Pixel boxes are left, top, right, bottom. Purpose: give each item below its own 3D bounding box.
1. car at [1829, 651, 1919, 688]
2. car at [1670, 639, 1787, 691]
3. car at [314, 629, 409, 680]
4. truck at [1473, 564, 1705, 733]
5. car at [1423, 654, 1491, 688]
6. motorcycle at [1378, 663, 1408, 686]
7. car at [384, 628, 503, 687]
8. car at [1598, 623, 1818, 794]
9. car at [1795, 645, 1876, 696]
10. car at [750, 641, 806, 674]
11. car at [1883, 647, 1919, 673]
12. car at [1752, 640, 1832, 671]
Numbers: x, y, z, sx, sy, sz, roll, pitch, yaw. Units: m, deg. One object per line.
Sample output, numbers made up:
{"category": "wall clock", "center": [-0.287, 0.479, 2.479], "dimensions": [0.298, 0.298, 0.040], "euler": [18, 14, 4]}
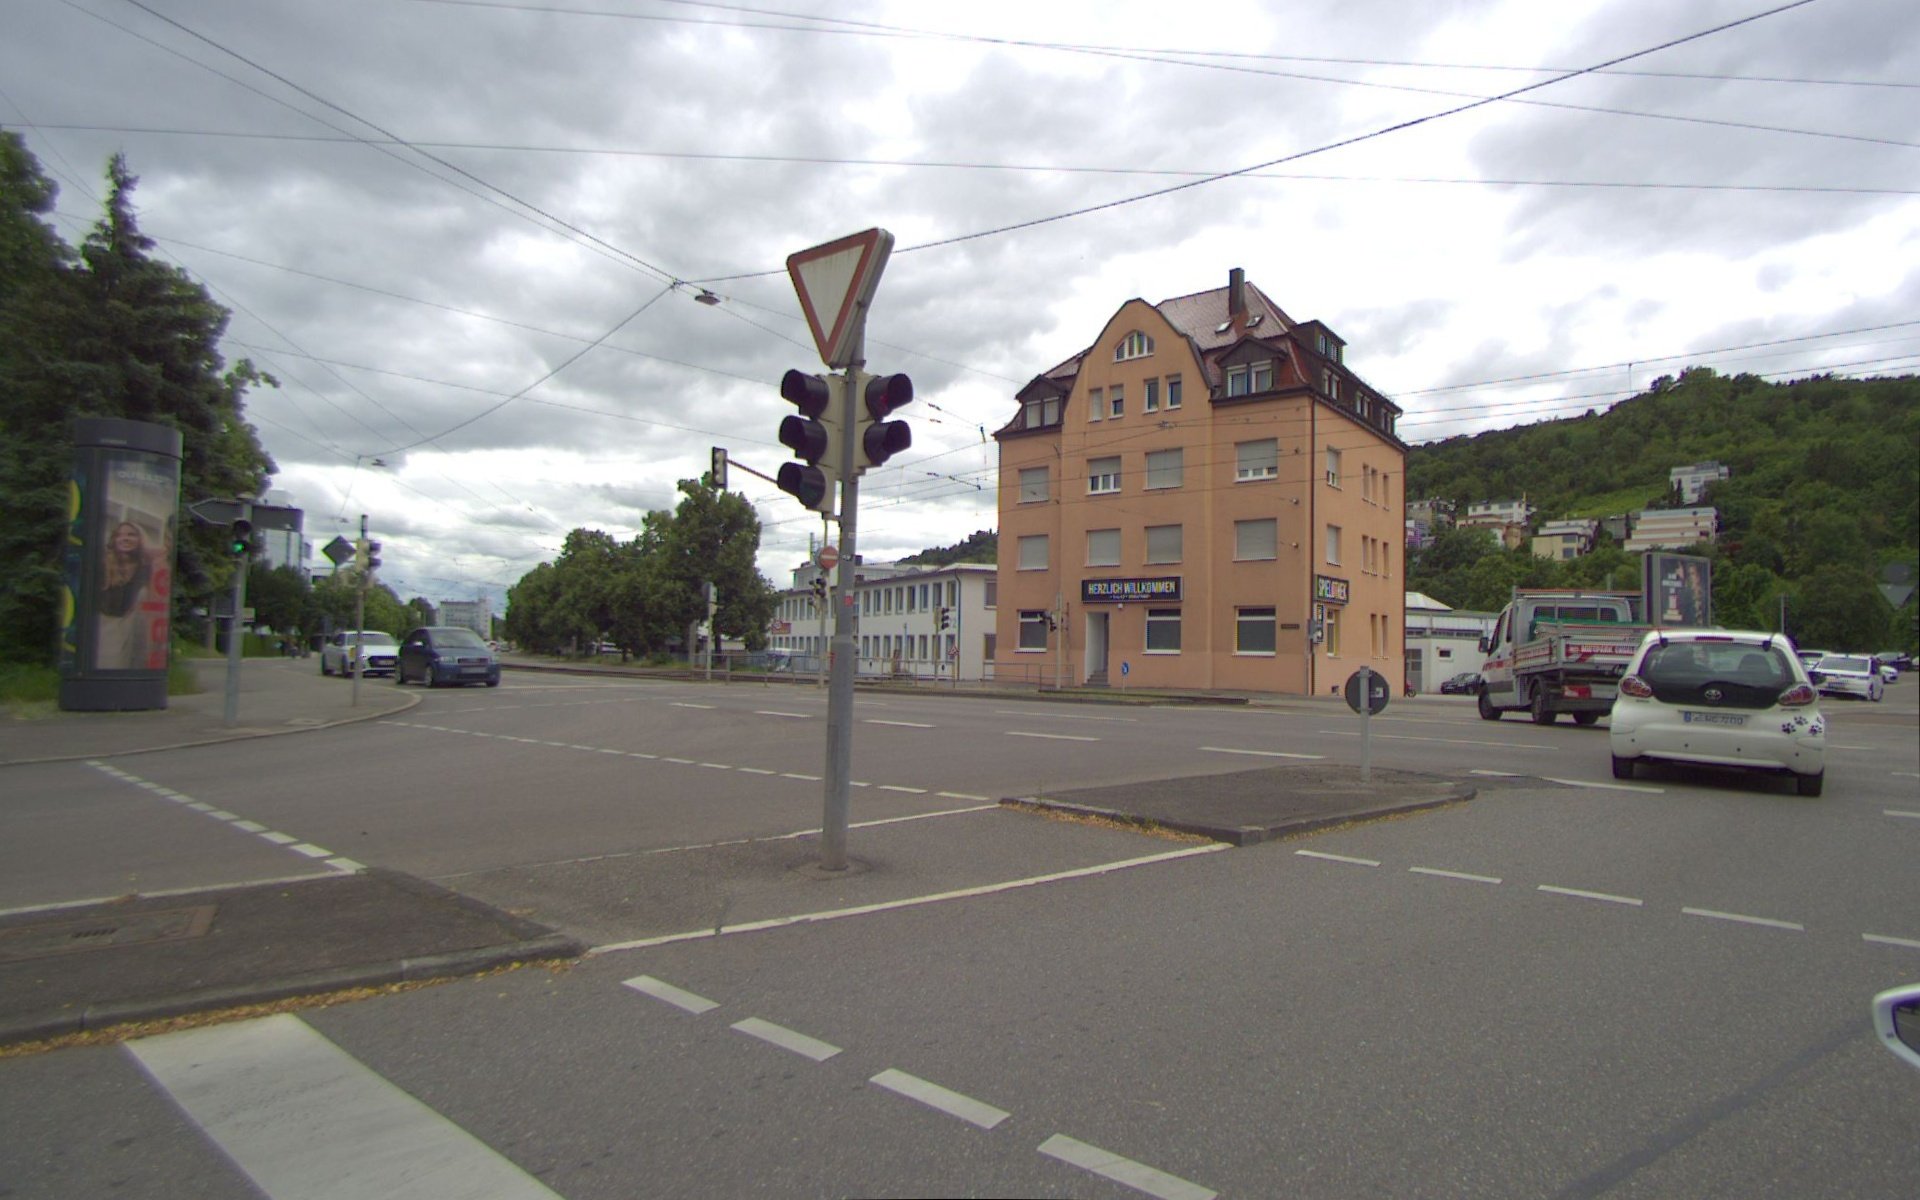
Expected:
{"category": "car", "center": [60.160, 4.548, 65.999], "dimensions": [4.449, 2.023, 1.988], "euler": [4, 0, 45]}
{"category": "car", "center": [39.477, 3.299, 51.761], "dimensions": [4.430, 2.272, 1.997], "euler": [4, 0, 30]}
{"category": "car", "center": [-18.465, 1.639, 30.902], "dimensions": [1.737, 1.445, 4.114], "euler": [2, -2, -42]}
{"category": "truck", "center": [10.744, 0.887, 17.707], "dimensions": [2.275, 2.453, 5.657], "euler": [1, -4, 20]}
{"category": "car", "center": [31.664, 4.523, 63.947], "dimensions": [4.468, 1.863, 1.979], "euler": [4, 0, -36]}
{"category": "motorcycle", "center": [21.364, 3.678, 49.559], "dimensions": [0.519, 0.997, 1.707], "euler": [4, 0, -7]}
{"category": "car", "center": [-13.377, 1.427, 25.943], "dimensions": [1.738, 1.410, 3.654], "euler": [2, -3, -44]}
{"category": "car", "center": [7.720, 0.954, 10.271], "dimensions": [1.575, 1.439, 3.357], "euler": [-1, -1, 40]}
{"category": "car", "center": [36.911, 2.984, 42.314], "dimensions": [4.875, 1.877, 2.056], "euler": [4, -1, -44]}
{"category": "car", "center": [-12.620, 3.953, 70.234], "dimensions": [1.714, 2.128, 6.305], "euler": [0, -2, 11]}
{"category": "car", "center": [82.265, 5.233, 87.719], "dimensions": [4.478, 2.023, 1.975], "euler": [4, 0, -42]}
{"category": "car", "center": [64.974, 4.304, 78.527], "dimensions": [1.984, 2.023, 4.459], "euler": [4, 0, -39]}
